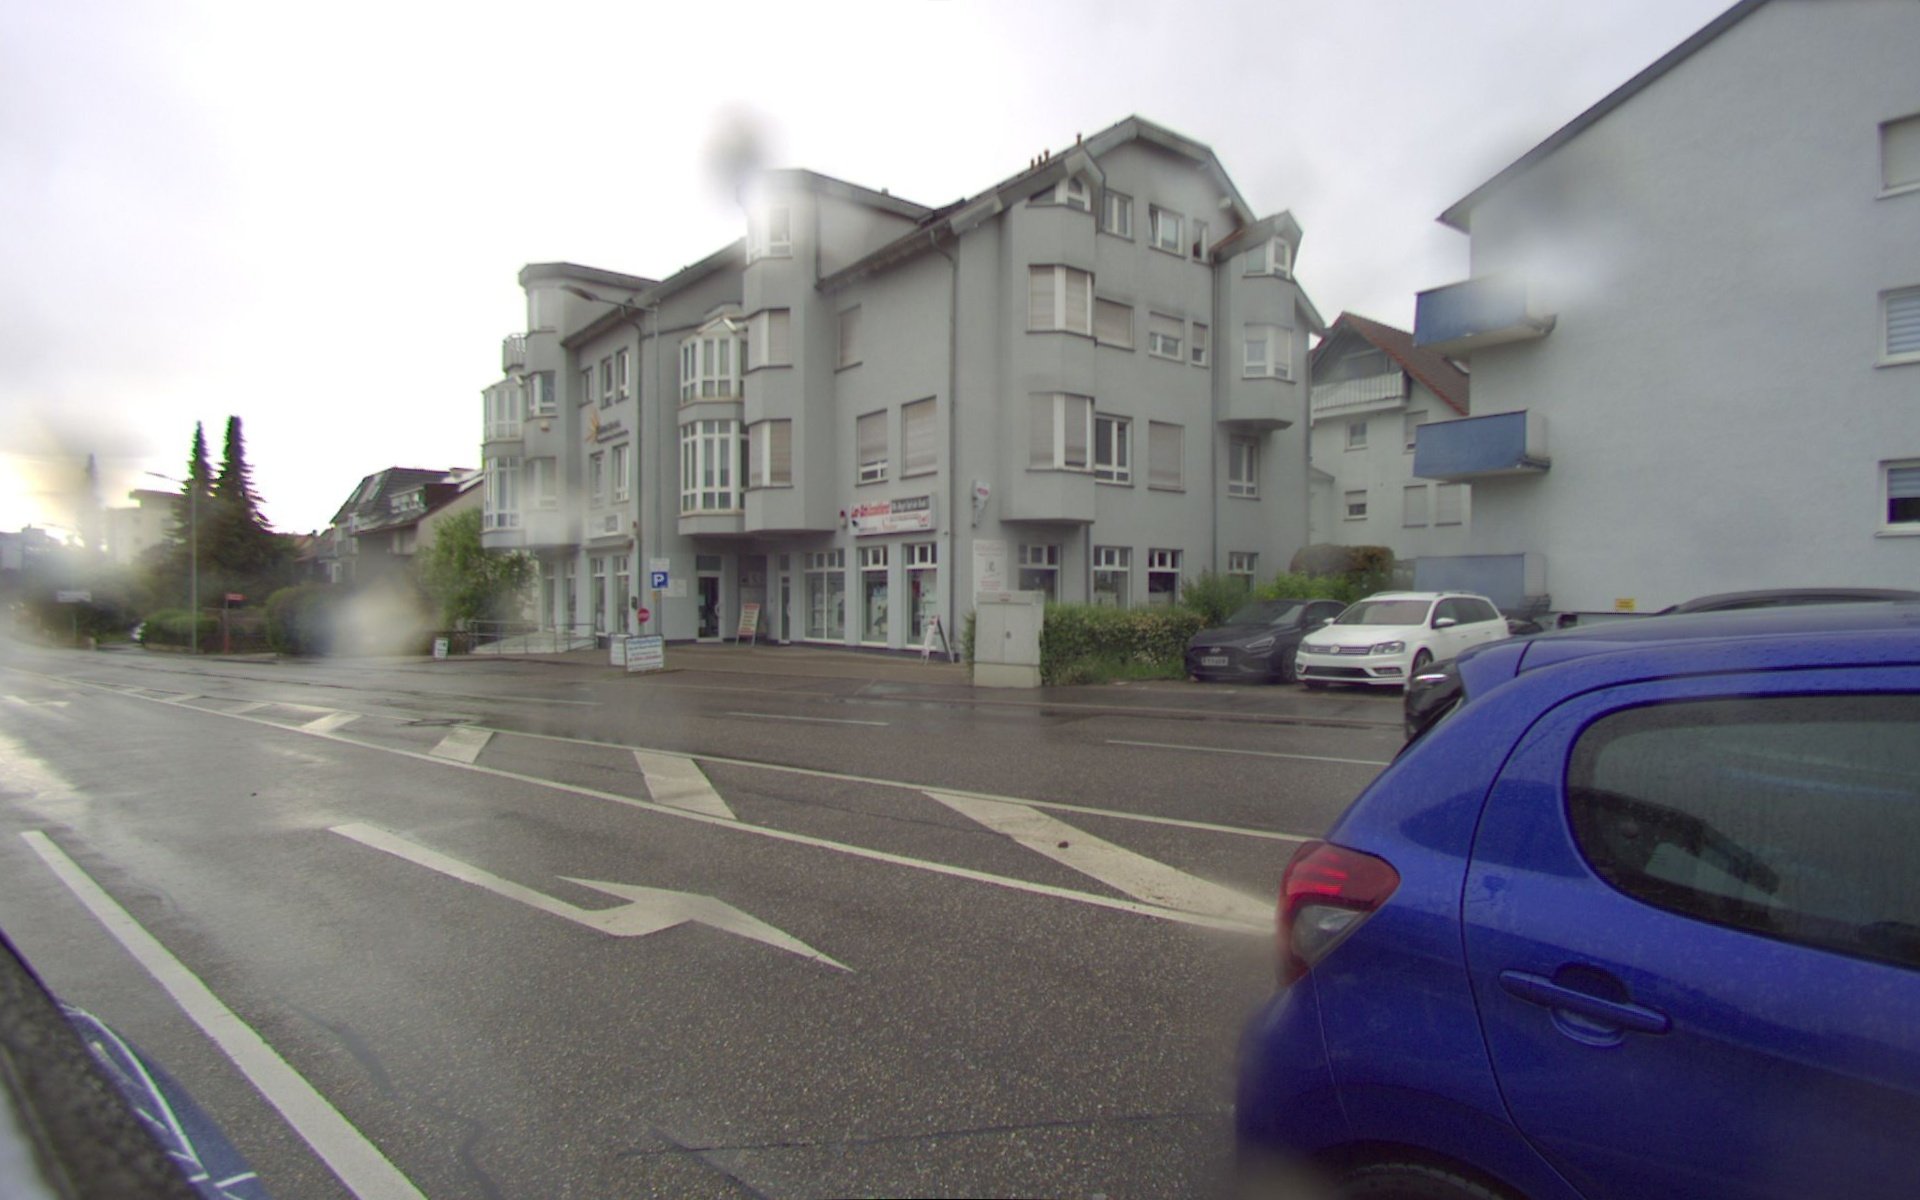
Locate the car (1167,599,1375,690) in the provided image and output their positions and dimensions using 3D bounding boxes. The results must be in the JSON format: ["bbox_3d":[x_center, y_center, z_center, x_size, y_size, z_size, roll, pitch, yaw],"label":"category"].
[{"bbox_3d":[5.496,0.693,17.651,1.851,1.366,3.941,-1,0,45],"label":"car"}]

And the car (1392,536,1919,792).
[{"bbox_3d":[5.990,0.410,7.841,4.531,1.637,1.975,-1,0,37],"label":"car"}]

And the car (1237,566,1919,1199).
[{"bbox_3d":[2.241,0.643,1.197,3.362,1.423,1.489,-2,-1,41],"label":"car"}]

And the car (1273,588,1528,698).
[{"bbox_3d":[6.985,0.607,15.806,4.685,1.471,1.883,0,-2,-42],"label":"car"}]

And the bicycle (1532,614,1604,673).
[{"bbox_3d":[11.147,0.795,18.563,1.065,1.061,0.343,-2,-1,41],"label":"bicycle"}]
